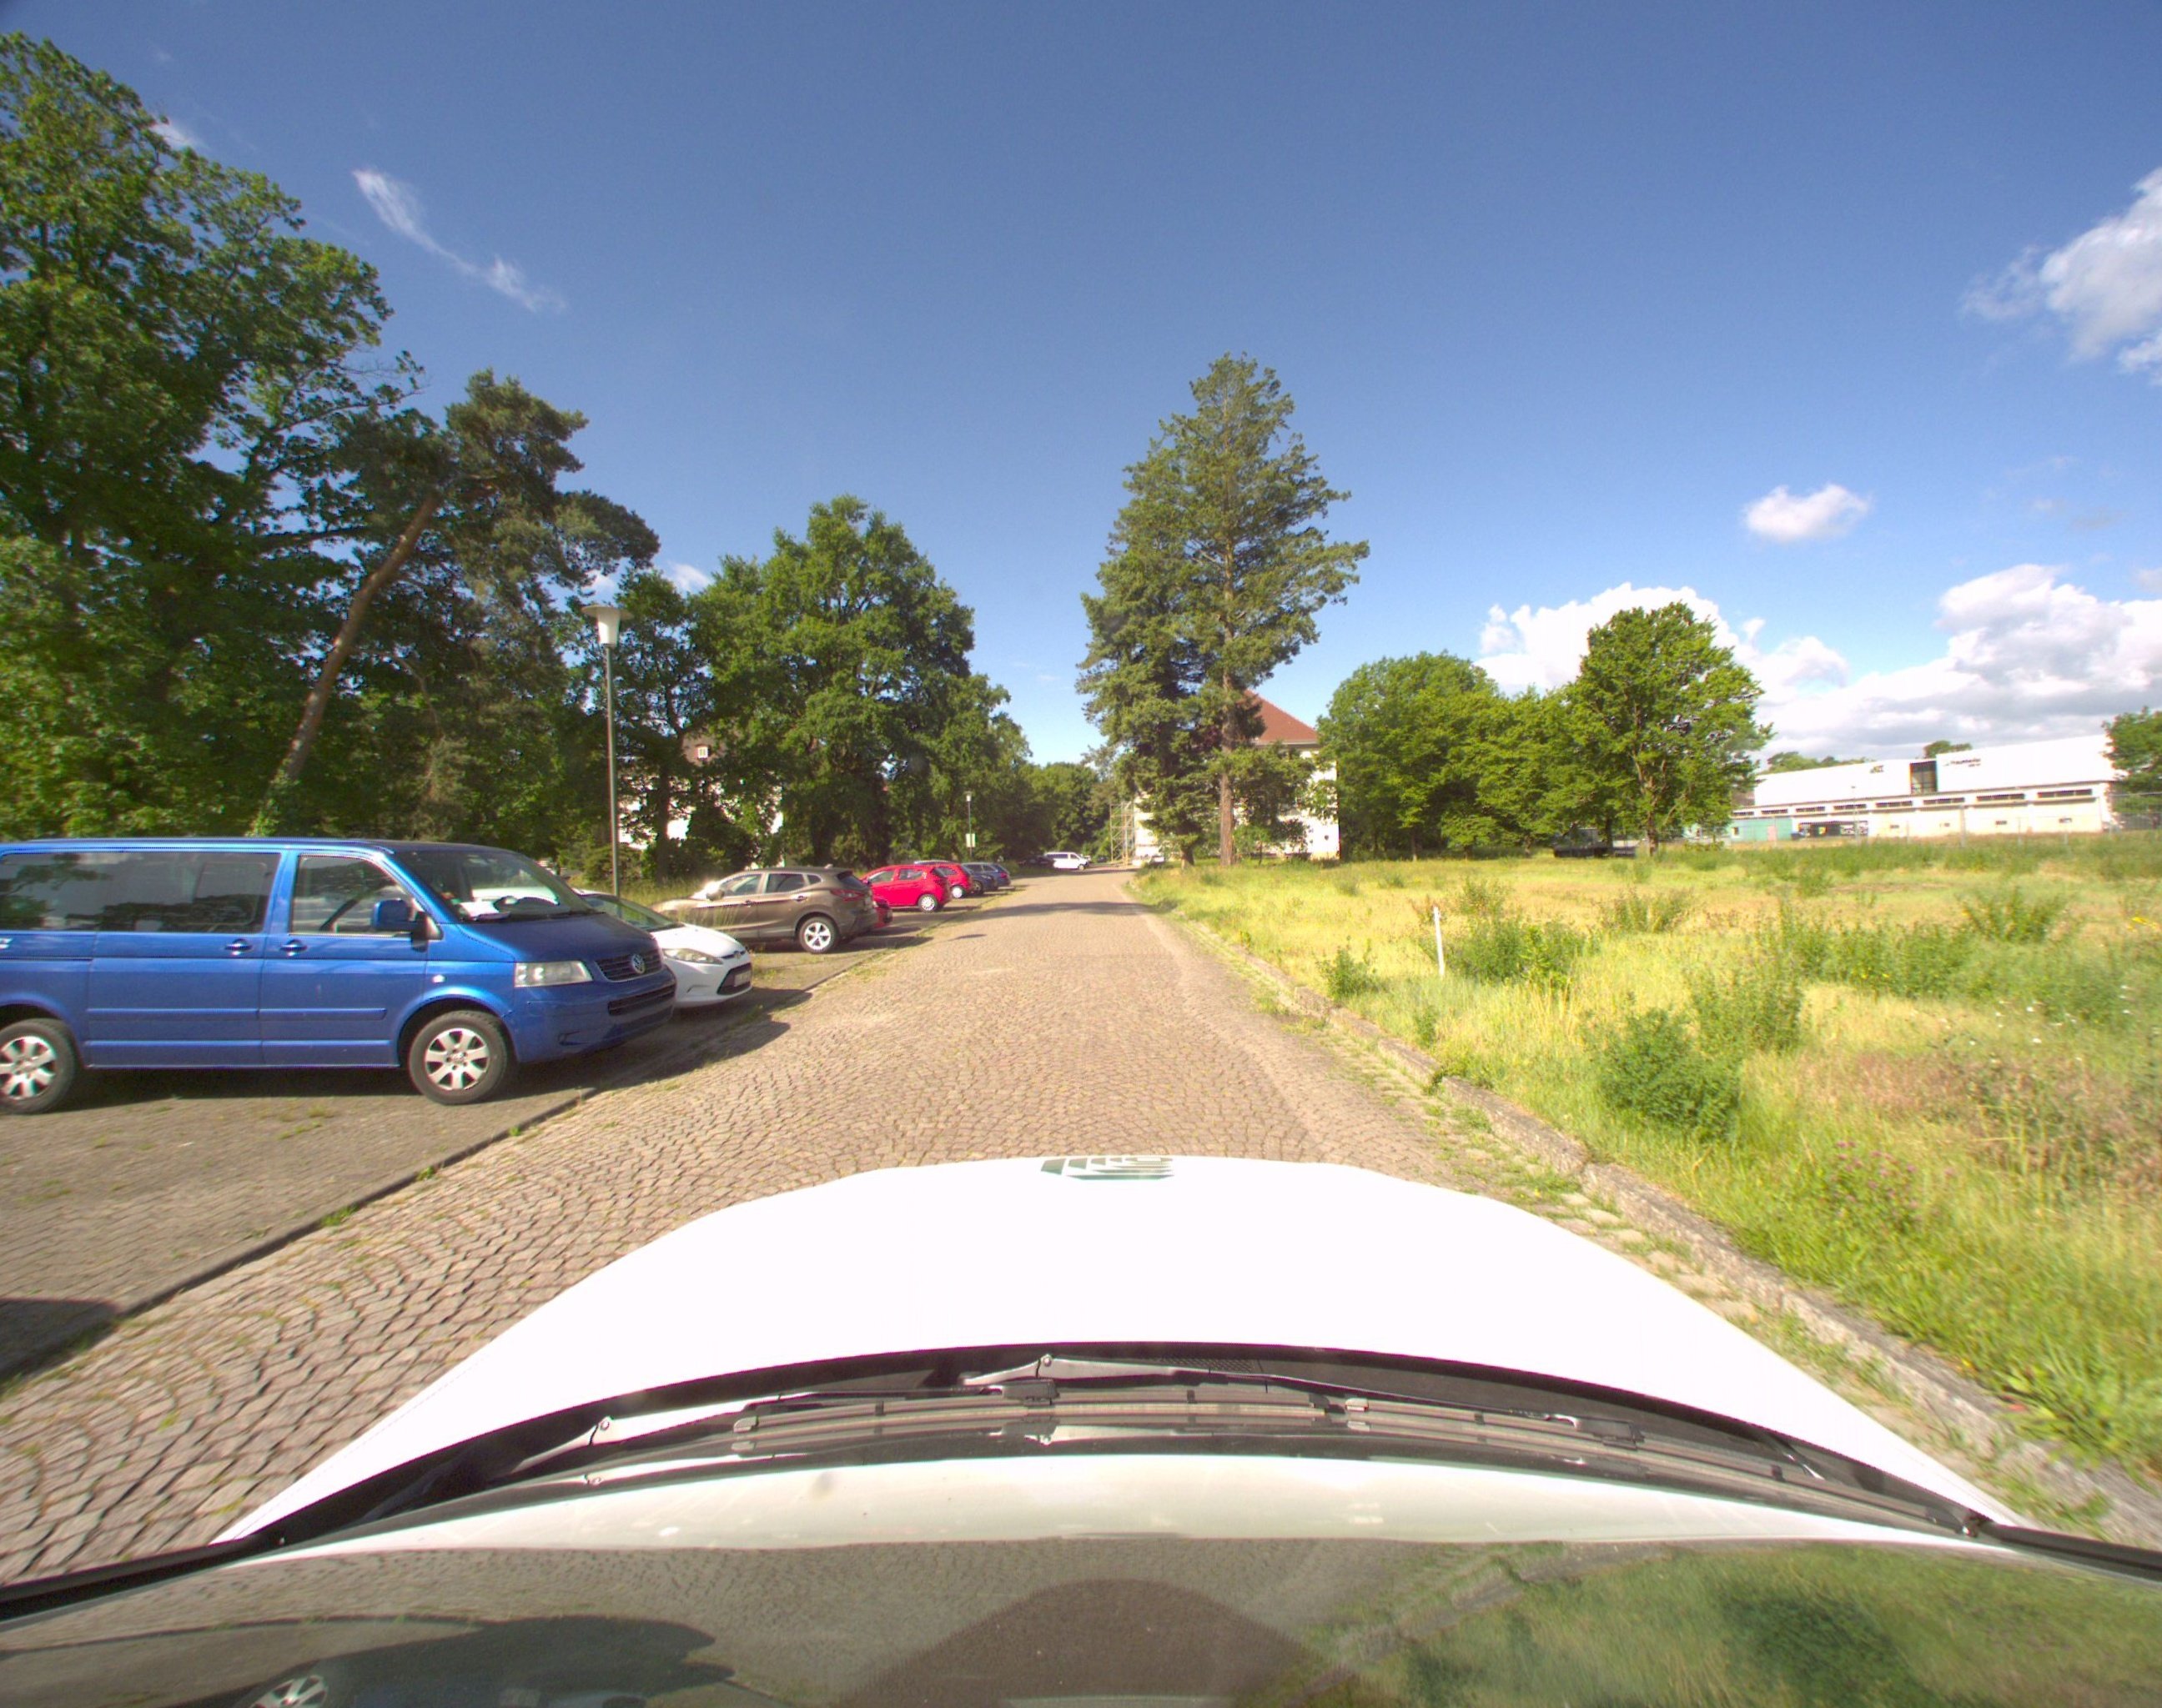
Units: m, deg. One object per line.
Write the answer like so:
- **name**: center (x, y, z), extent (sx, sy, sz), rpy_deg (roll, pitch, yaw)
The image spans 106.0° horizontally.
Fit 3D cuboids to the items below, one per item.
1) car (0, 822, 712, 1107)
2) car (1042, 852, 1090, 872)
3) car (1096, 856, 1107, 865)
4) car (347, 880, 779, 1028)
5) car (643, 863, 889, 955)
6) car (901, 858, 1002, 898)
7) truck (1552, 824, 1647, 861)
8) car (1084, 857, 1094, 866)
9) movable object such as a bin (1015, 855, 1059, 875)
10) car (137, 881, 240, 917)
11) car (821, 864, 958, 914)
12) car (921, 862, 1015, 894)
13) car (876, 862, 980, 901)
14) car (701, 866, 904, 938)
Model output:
- **car**: center (-5.875, 0.782, 6.731), extent (4.702, 1.968, 2.005), rpy_deg (0, -1, 0)
- **car**: center (-1.636, 0.836, 89.859), extent (5.218, 2.016, 1.949), rpy_deg (-2, -1, -1)
- **car**: center (3.978, 1.226, 156.198), extent (1.965, 1.668, 4.085), rpy_deg (-2, 0, 0)
- **car**: center (-5.683, 1.056, 9.330), extent (3.807, 1.440, 1.681), rpy_deg (0, -1, -3)
- **car**: center (-5.896, 0.995, 15.663), extent (3.942, 1.567, 1.973), rpy_deg (0, 0, -2)
- **car**: center (-5.702, 1.047, 36.270), extent (4.122, 1.579, 1.884), rpy_deg (-1, 0, 0)
- **truck**: center (36.191, -0.738, 57.191), extent (2.226, 2.424, 6.883), rpy_deg (-1, 0, -1)
- **car**: center (1.582, 1.374, 155.880), extent (1.806, 1.579, 4.134), rpy_deg (-2, 0, 0)
- **movable object such as a bin**: center (-4.154, 1.015, 76.745), extent (3.536, 1.744, 2.034), rpy_deg (-3, -1, 18)
- **car**: center (-68.766, 3.384, 62.898), extent (1.977, 2.436, 5.277), rpy_deg (-2, 0, 1)
- **car**: center (-6.018, 1.091, 25.986), extent (3.912, 1.461, 1.841), rpy_deg (-1, 0, -2)
- **car**: center (-5.621, 1.168, 40.953), extent (4.342, 1.445, 1.922), rpy_deg (-1, 0, 2)
- **car**: center (-6.309, 1.127, 33.890), extent (3.909, 1.433, 1.842), rpy_deg (-1, 0, 1)
- **car**: center (-6.171, 1.041, 18.391), extent (3.912, 1.449, 1.865), rpy_deg (0, 0, -2)
